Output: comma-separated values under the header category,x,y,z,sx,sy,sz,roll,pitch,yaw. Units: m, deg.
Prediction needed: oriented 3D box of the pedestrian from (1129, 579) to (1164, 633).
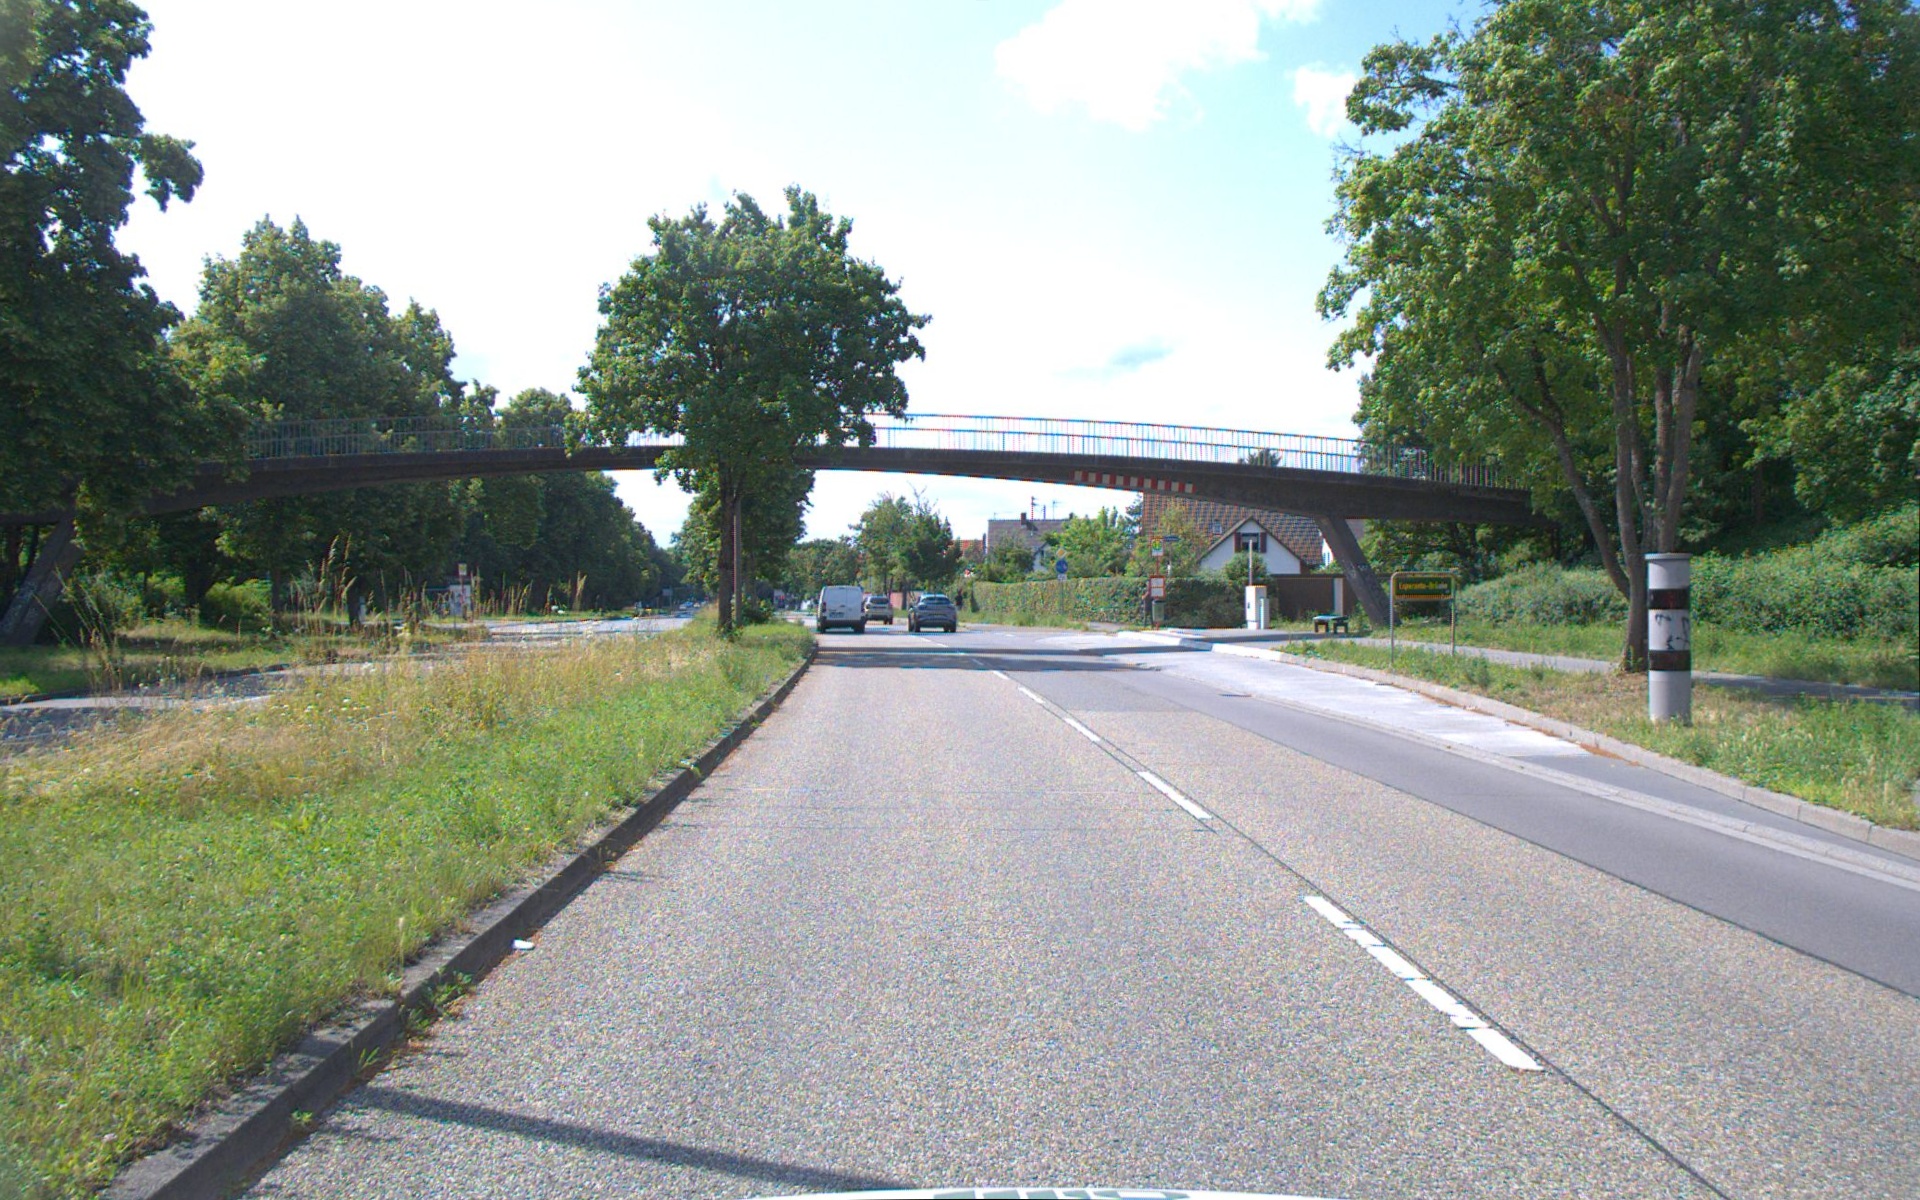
category,x,y,z,sx,sy,sz,roll,pitch,yaw
pedestrian,6.646,0.219,58.977,0.936,1.856,1.086,-2,-2,-6

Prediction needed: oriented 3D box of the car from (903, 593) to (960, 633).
category,x,y,z,sx,sy,sz,roll,pitch,yaw
car,-1.229,0.552,69.464,1.840,1.617,4.176,0,0,-8

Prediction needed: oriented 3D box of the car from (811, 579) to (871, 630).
category,x,y,z,sx,sy,sz,roll,pitch,yaw
car,-4.819,0.166,66.325,2.027,1.945,4.637,0,0,-9

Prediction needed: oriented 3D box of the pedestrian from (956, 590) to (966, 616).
category,x,y,z,sx,sy,sz,roll,pitch,yaw
pedestrian,0.050,0.191,111.395,0.549,1.706,0.633,0,0,-9

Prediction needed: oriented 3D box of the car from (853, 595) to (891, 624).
category,x,y,z,sx,sy,sz,roll,pitch,yaw
car,-5.236,0.550,98.128,1.840,1.681,3.992,0,0,-8
